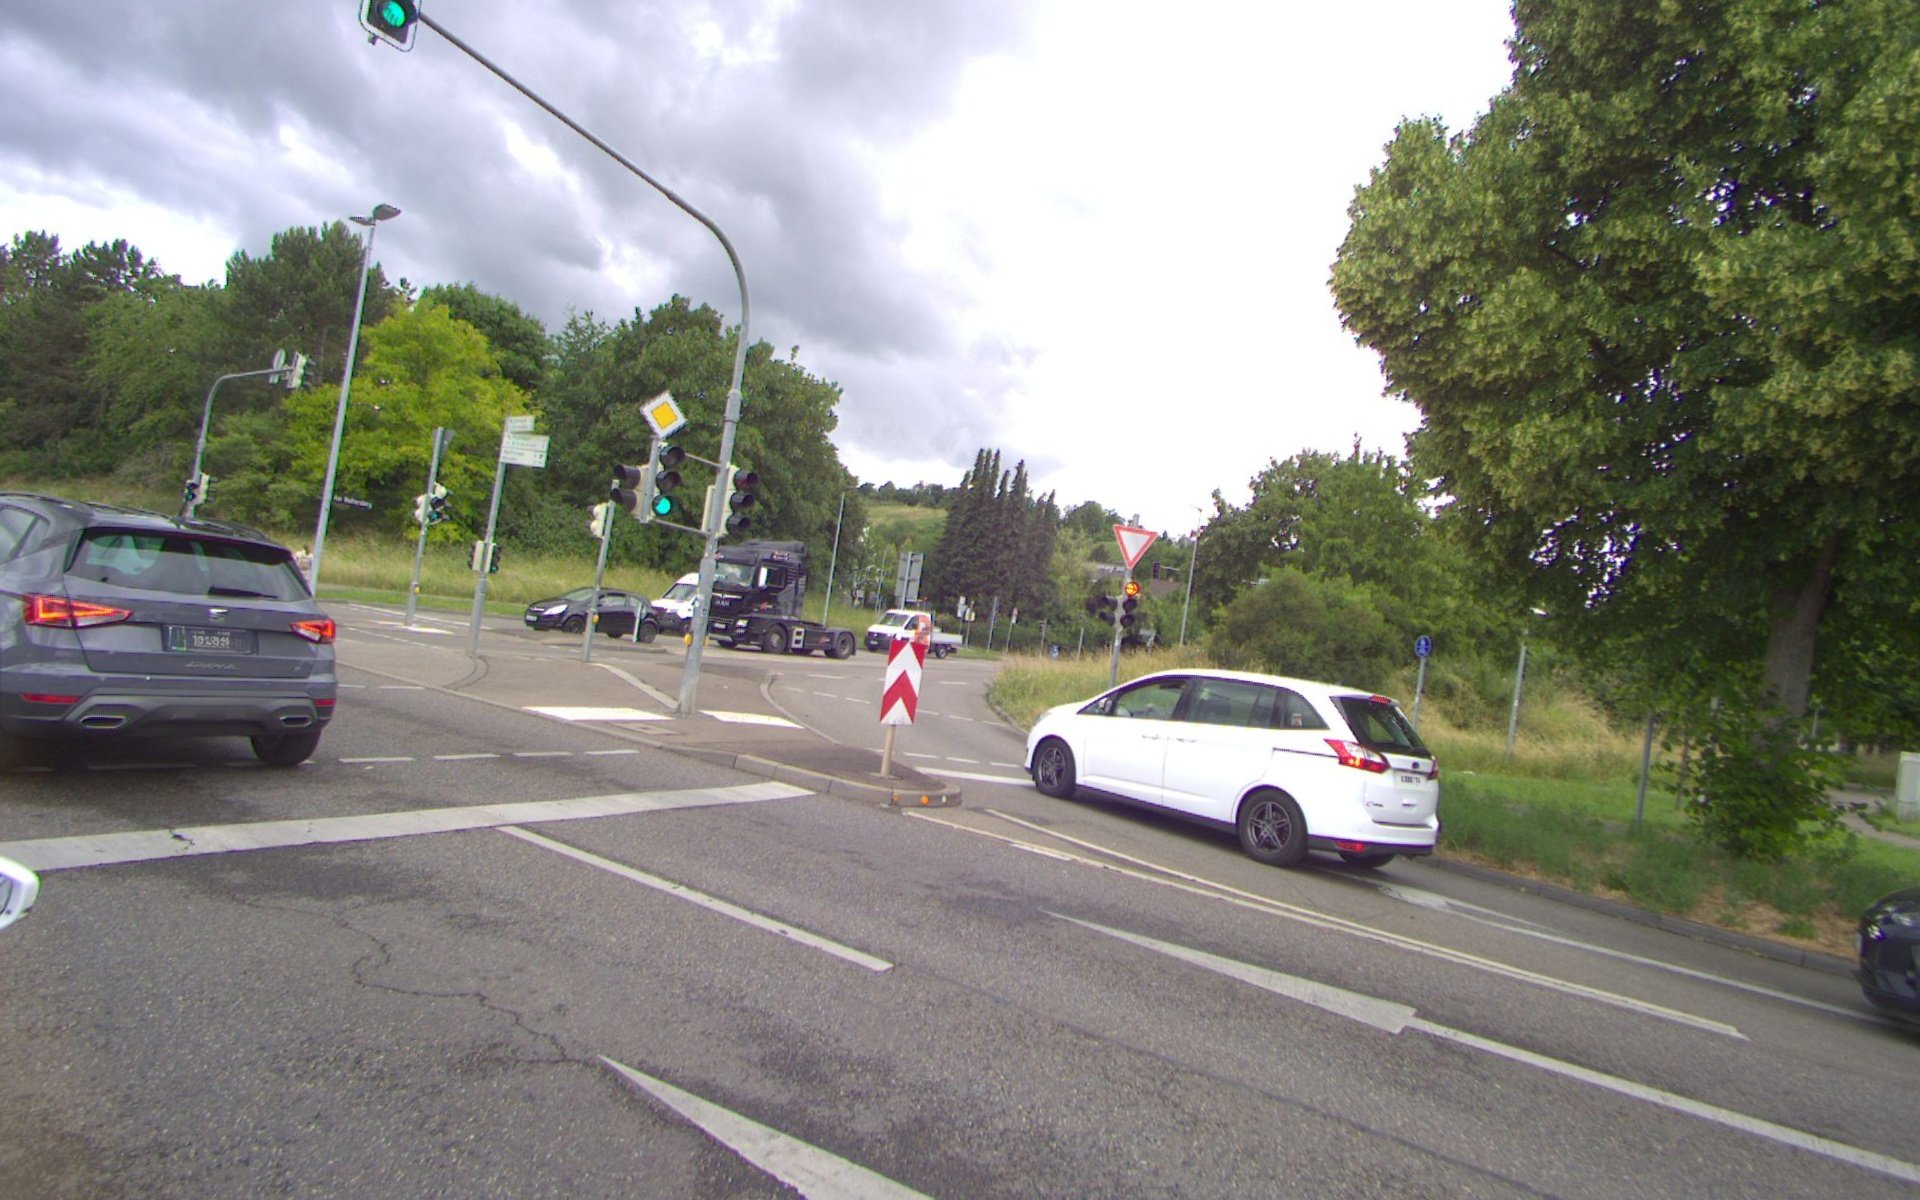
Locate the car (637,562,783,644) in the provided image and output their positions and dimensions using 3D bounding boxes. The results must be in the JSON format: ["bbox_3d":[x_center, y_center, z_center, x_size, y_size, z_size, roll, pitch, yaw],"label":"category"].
[{"bbox_3d":[-10.140,0.200,41.360,1.968,2.660,5.814,6,-2,34],"label":"car"}]

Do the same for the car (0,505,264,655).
[{"bbox_3d":[-10.991,-0.320,12.896,4.219,1.398,1.750,7,-2,32],"label":"car"}]

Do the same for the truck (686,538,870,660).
[{"bbox_3d":[-6.228,0.061,35.344,2.648,3.527,6.004,6,-1,34],"label":"truck"}]

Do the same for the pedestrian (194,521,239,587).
[{"bbox_3d":[-19.972,-1.235,27.023,0.703,1.681,0.644,6,-1,38],"label":"pedestrian"}]

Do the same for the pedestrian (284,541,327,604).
[{"bbox_3d":[-18.117,-0.767,27.840,0.703,1.630,0.644,6,-1,37],"label":"pedestrian"}]

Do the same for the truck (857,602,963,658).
[{"bbox_3d":[-2.533,1.633,52.755,2.128,2.255,6.028,6,-2,35],"label":"truck"}]

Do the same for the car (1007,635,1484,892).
[{"bbox_3d":[2.626,1.485,10.225,1.752,1.673,4.325,10,-3,-37],"label":"car"}]

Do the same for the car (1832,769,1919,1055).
[{"bbox_3d":[7.126,2.000,5.370,3.511,1.524,1.603,6,-2,38],"label":"car"}]

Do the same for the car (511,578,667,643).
[{"bbox_3d":[-10.578,0.352,28.930,1.669,1.353,3.882,6,-3,34],"label":"car"}]

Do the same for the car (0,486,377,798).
[{"bbox_3d":[-5.775,0.106,6.598,3.773,1.511,1.627,7,-2,31],"label":"car"}]
